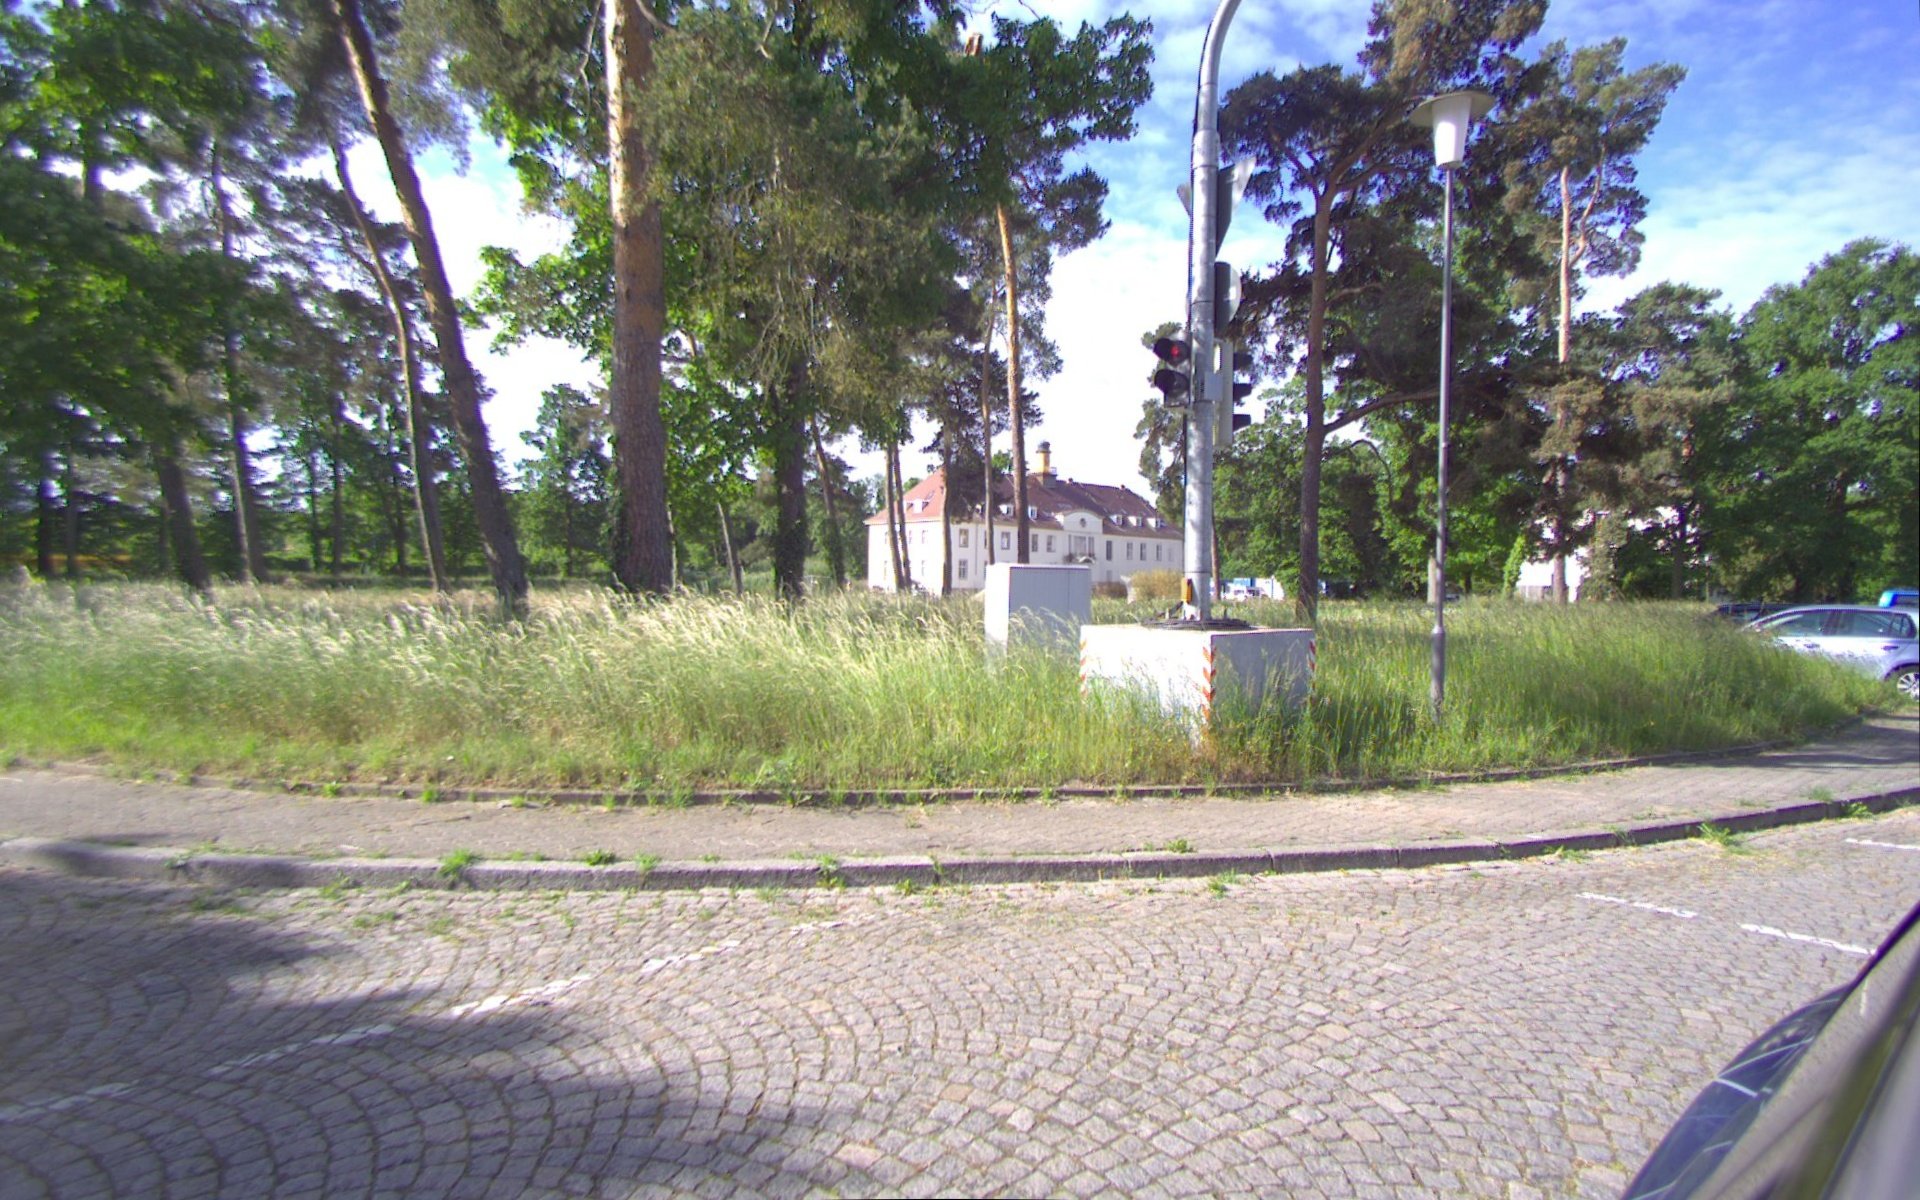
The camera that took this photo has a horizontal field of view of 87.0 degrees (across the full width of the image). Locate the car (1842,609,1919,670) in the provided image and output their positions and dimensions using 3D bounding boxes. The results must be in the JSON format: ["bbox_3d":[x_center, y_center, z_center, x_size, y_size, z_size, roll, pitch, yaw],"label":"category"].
[{"bbox_3d":[21.564,0.881,22.047,1.395,1.271,3.355,0,1,-40],"label":"car"}]

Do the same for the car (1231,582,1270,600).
[{"bbox_3d":[33.496,-1.044,116.484,4.686,2.039,1.998,0,1,-39],"label":"car"}]

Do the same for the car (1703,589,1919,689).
[{"bbox_3d":[15.922,0.660,17.634,1.795,1.535,4.501,0,2,-43],"label":"car"}]

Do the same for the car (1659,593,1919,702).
[{"bbox_3d":[13.815,0.692,16.133,1.838,1.478,4.025,0,2,-40],"label":"car"}]

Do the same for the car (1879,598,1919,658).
[{"bbox_3d":[25.850,0.758,25.541,1.477,1.509,3.631,1,1,-30],"label":"car"}]

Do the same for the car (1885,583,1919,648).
[{"bbox_3d":[31.792,0.525,31.064,1.963,2.039,4.727,0,1,-38],"label":"car"}]

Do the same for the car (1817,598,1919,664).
[{"bbox_3d":[23.120,0.755,24.222,1.522,1.509,3.778,0,1,-40],"label":"car"}]

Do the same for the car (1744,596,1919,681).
[{"bbox_3d":[18.015,0.753,19.401,1.794,1.419,4.421,0,3,-40],"label":"car"}]

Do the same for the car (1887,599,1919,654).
[{"bbox_3d":[27.715,0.763,27.693,1.422,1.509,3.266,0,1,-37],"label":"car"}]
